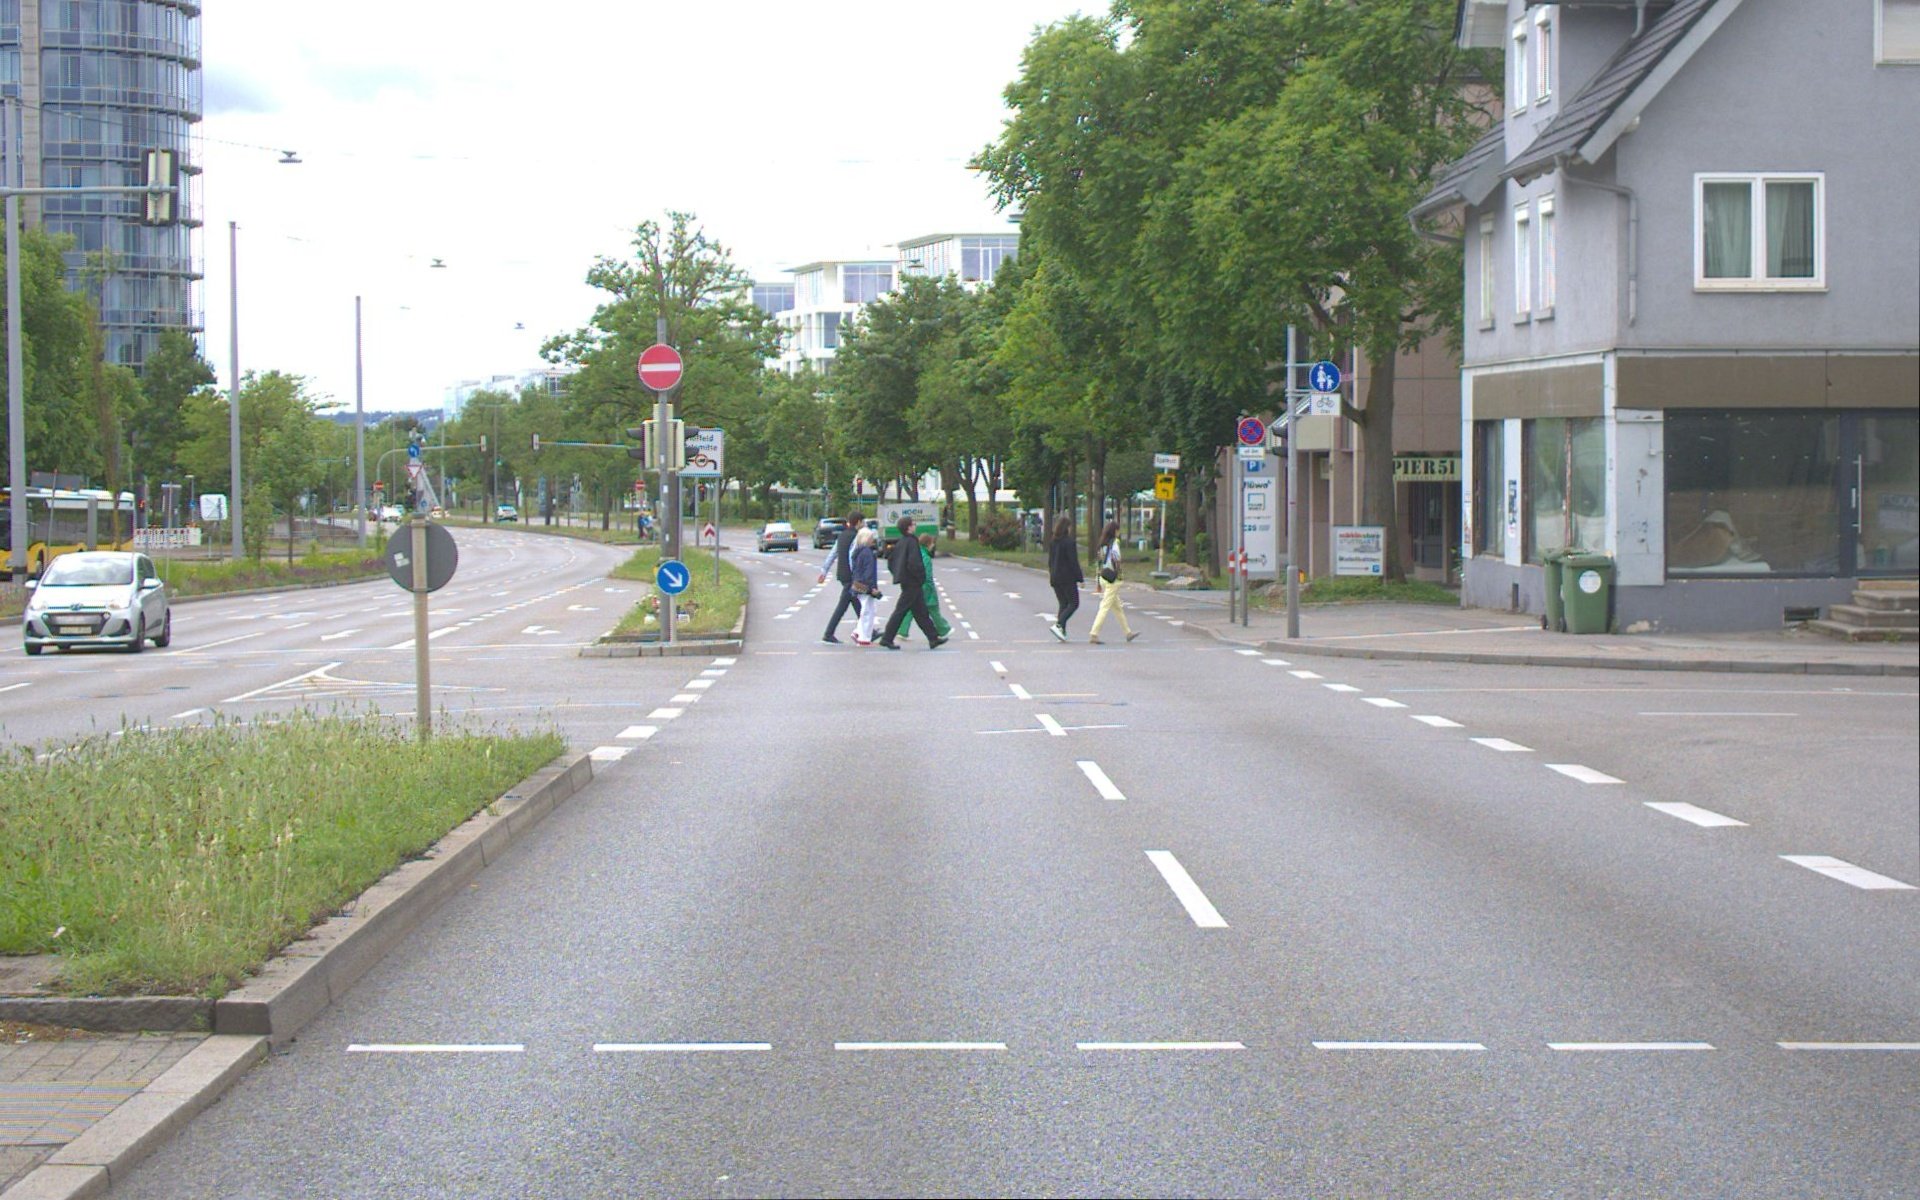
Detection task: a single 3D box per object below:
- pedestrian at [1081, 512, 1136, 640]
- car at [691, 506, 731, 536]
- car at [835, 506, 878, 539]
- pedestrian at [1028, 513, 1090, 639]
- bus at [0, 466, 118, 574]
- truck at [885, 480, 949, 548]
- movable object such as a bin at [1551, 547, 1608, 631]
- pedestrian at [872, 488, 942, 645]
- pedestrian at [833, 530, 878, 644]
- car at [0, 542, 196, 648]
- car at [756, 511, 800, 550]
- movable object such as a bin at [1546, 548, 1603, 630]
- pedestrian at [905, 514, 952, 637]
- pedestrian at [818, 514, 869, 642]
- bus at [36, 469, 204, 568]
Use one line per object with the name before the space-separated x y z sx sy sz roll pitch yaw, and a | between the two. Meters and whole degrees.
pedestrian | 2.005 -0.321 46.369 0.653 1.710 0.452 -1 1 -7
car | -12.780 -4.047 176.122 1.993 1.514 4.001 -1 1 -4
car | -4.975 -3.721 165.975 1.993 1.546 4.000 1 1 -1
pedestrian | 1.354 -0.327 47.099 0.745 1.710 0.583 -1 1 -7
bus | -30.986 -2.626 114.085 2.832 3.419 10.732 -1 1 3
truck | -1.743 -3.489 138.084 2.470 2.602 6.548 1 2 -1
movable object such as a bin | 7.921 -0.143 43.948 0.604 1.056 0.589 1 1 1
pedestrian | -0.684 -0.435 44.435 0.829 2.007 0.546 -1 1 -7
pedestrian | -1.382 -0.175 45.432 0.543 1.491 0.487 -1 1 -7
car | -12.718 -0.107 50.946 1.993 1.481 4.000 -1 1 -2
car | -8.759 -3.327 165.426 1.993 1.824 4.001 1 1 -2
movable object such as a bin | 7.959 -0.149 44.564 0.616 1.039 0.589 1 1 1
pedestrian | -0.447 -0.349 48.136 0.583 1.710 0.546 -1 1 -7
pedestrian | -1.563 -0.299 46.090 0.612 1.710 0.546 -1 1 -7
bus | -30.372 -2.922 124.823 2.832 3.419 10.732 -1 1 3
